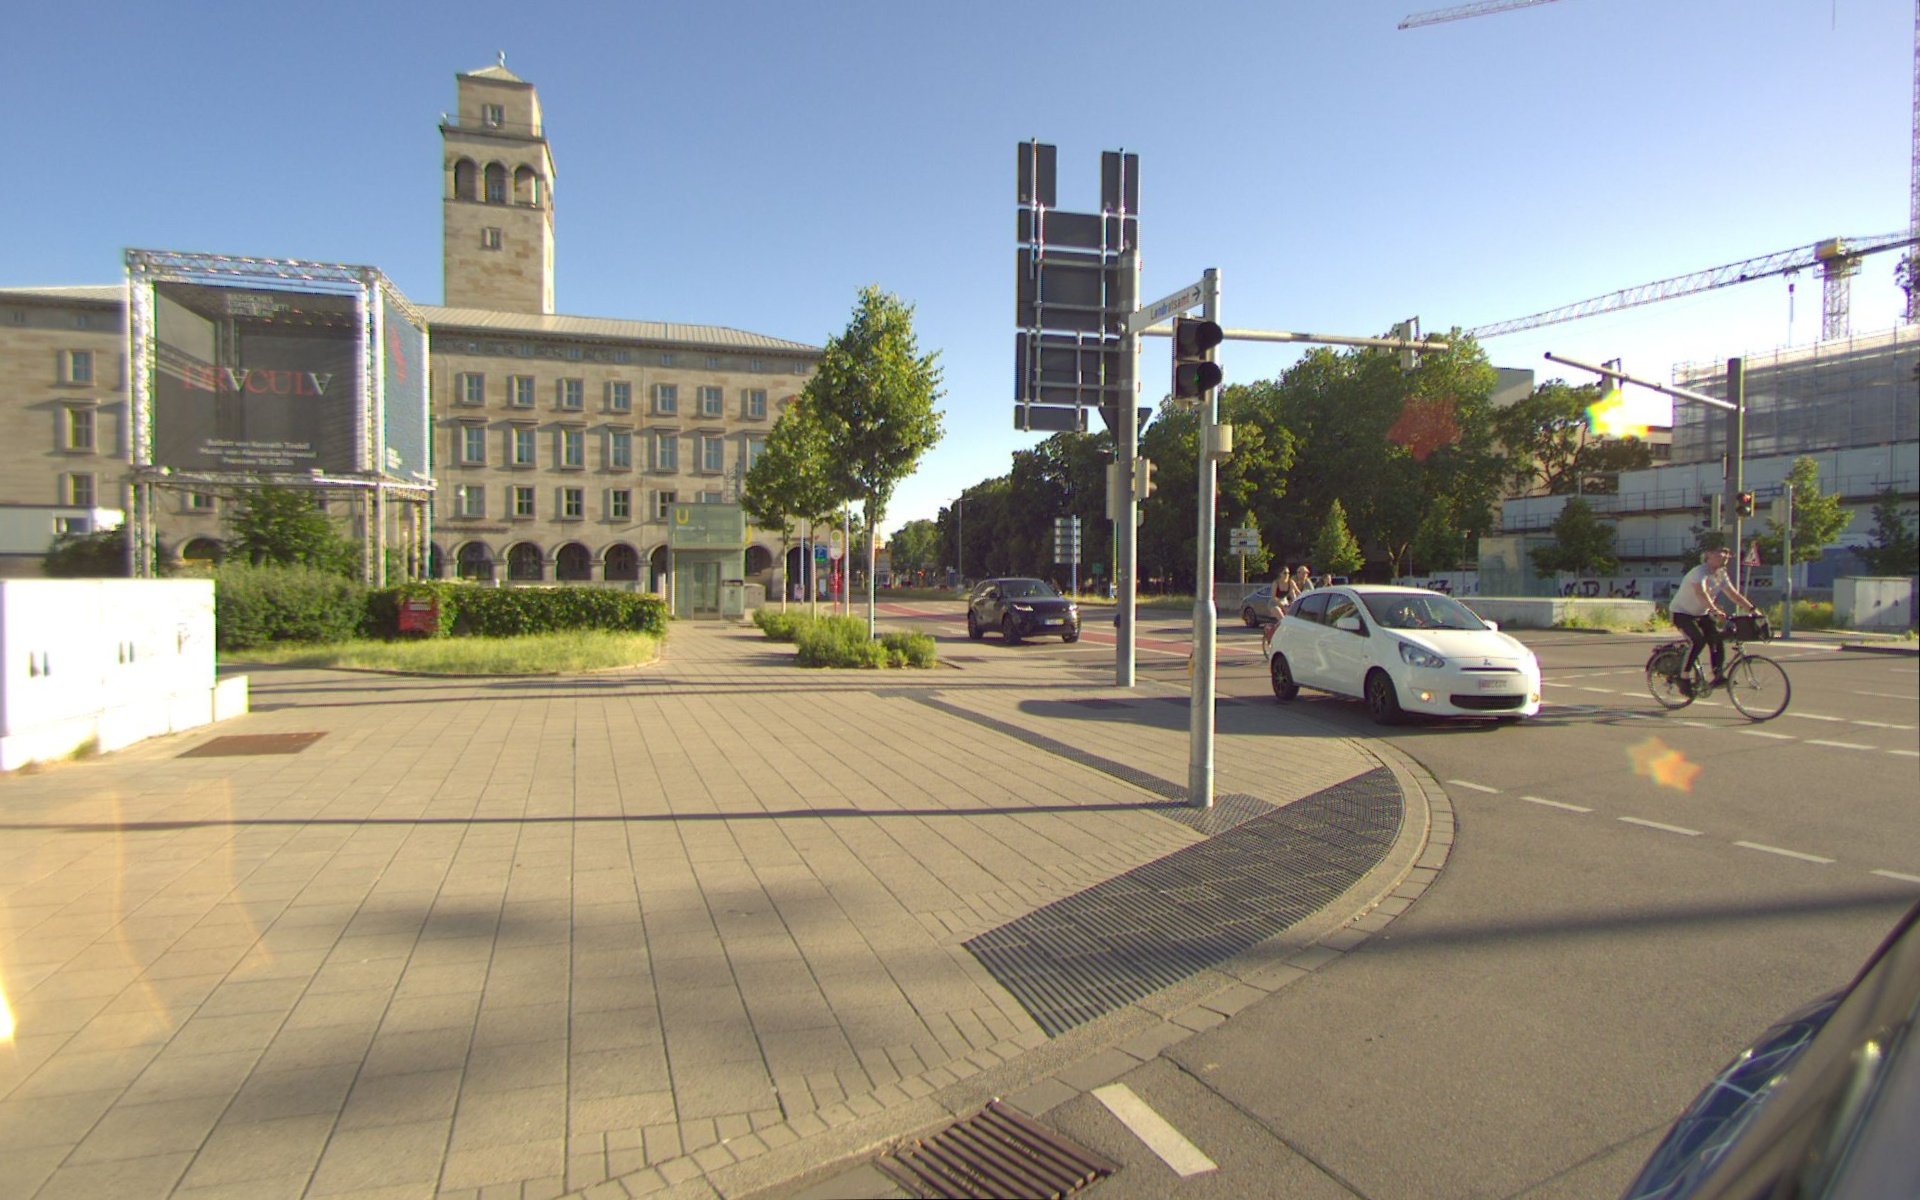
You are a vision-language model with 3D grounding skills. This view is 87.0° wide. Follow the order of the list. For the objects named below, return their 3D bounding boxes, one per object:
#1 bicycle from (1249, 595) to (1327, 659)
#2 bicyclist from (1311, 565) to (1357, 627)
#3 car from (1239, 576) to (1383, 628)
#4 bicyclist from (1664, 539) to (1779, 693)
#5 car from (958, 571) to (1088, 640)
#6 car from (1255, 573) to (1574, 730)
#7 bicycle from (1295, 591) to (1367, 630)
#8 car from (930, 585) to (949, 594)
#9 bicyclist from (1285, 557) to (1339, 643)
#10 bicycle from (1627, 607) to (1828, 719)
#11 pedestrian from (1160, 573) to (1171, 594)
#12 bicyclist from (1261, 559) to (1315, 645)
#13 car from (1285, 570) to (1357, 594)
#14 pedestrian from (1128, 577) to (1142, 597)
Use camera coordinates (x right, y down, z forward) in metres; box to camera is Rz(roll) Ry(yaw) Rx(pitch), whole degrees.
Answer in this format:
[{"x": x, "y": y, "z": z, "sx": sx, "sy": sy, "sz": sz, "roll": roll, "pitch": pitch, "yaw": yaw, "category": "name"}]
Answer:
[{"x": 6.081, "y": 0.479, "z": 18.860, "sx": 0.639, "sy": 1.107, "sz": 1.803, "roll": 0, "pitch": 1, "yaw": -9, "category": "bicycle"}, {"x": 9.441, "y": -0.102, "z": 25.568, "sx": 0.611, "sy": 1.522, "sz": 0.940, "roll": -1, "pitch": 1, "yaw": -20, "category": "bicyclist"}, {"x": 10.083, "y": -0.006, "z": 29.496, "sx": 1.739, "sy": 1.368, "sz": 4.536, "roll": -1, "pitch": 2, "yaw": -14, "category": "car"}, {"x": 8.661, "y": 0.163, "z": 11.536, "sx": 0.687, "sy": 1.690, "sz": 0.788, "roll": 0, "pitch": 1, "yaw": -12, "category": "bicyclist"}, {"x": 1.566, "y": 0.070, "z": 27.078, "sx": 1.958, "sy": 1.683, "sz": 4.803, "roll": 0, "pitch": 1, "yaw": -16, "category": "car"}, {"x": 5.118, "y": 0.460, "z": 12.056, "sx": 1.628, "sy": 1.489, "sz": 3.975, "roll": -2, "pitch": 2, "yaw": -7, "category": "car"}, {"x": 9.398, "y": 0.238, "z": 25.700, "sx": 0.611, "sy": 0.920, "sz": 1.914, "roll": -1, "pitch": 1, "yaw": -20, "category": "bicycle"}, {"x": -2.808, "y": -1.500, "z": 138.326, "sx": 1.585, "sy": 1.147, "sz": 3.779, "roll": -1, "pitch": 2, "yaw": -17, "category": "car"}, {"x": 6.706, "y": -0.017, "z": 19.305, "sx": 0.612, "sy": 1.594, "sz": 0.896, "roll": 0, "pitch": 1, "yaw": -11, "category": "bicyclist"}, {"x": 8.673, "y": 0.666, "z": 11.542, "sx": 0.694, "sy": 1.107, "sz": 1.804, "roll": 0, "pitch": 1, "yaw": -12, "category": "bicycle"}, {"x": 17.649, "y": -1.421, "z": 87.034, "sx": 0.651, "sy": 1.748, "sz": 0.699, "roll": 0, "pitch": 1, "yaw": -15, "category": "pedestrian"}, {"x": 6.095, "y": 0.025, "z": 18.838, "sx": 0.639, "sy": 1.562, "sz": 0.849, "roll": 0, "pitch": 1, "yaw": -9, "category": "bicyclist"}, {"x": 29.521, "y": -1.474, "z": 82.757, "sx": 5.220, "sy": 1.915, "sz": 2.003, "roll": -1, "pitch": 0, "yaw": -10, "category": "car"}, {"x": 16.565, "y": -1.224, "z": 95.635, "sx": 0.977, "sy": 1.805, "sz": 0.966, "roll": -2, "pitch": 2, "yaw": -15, "category": "pedestrian"}]
